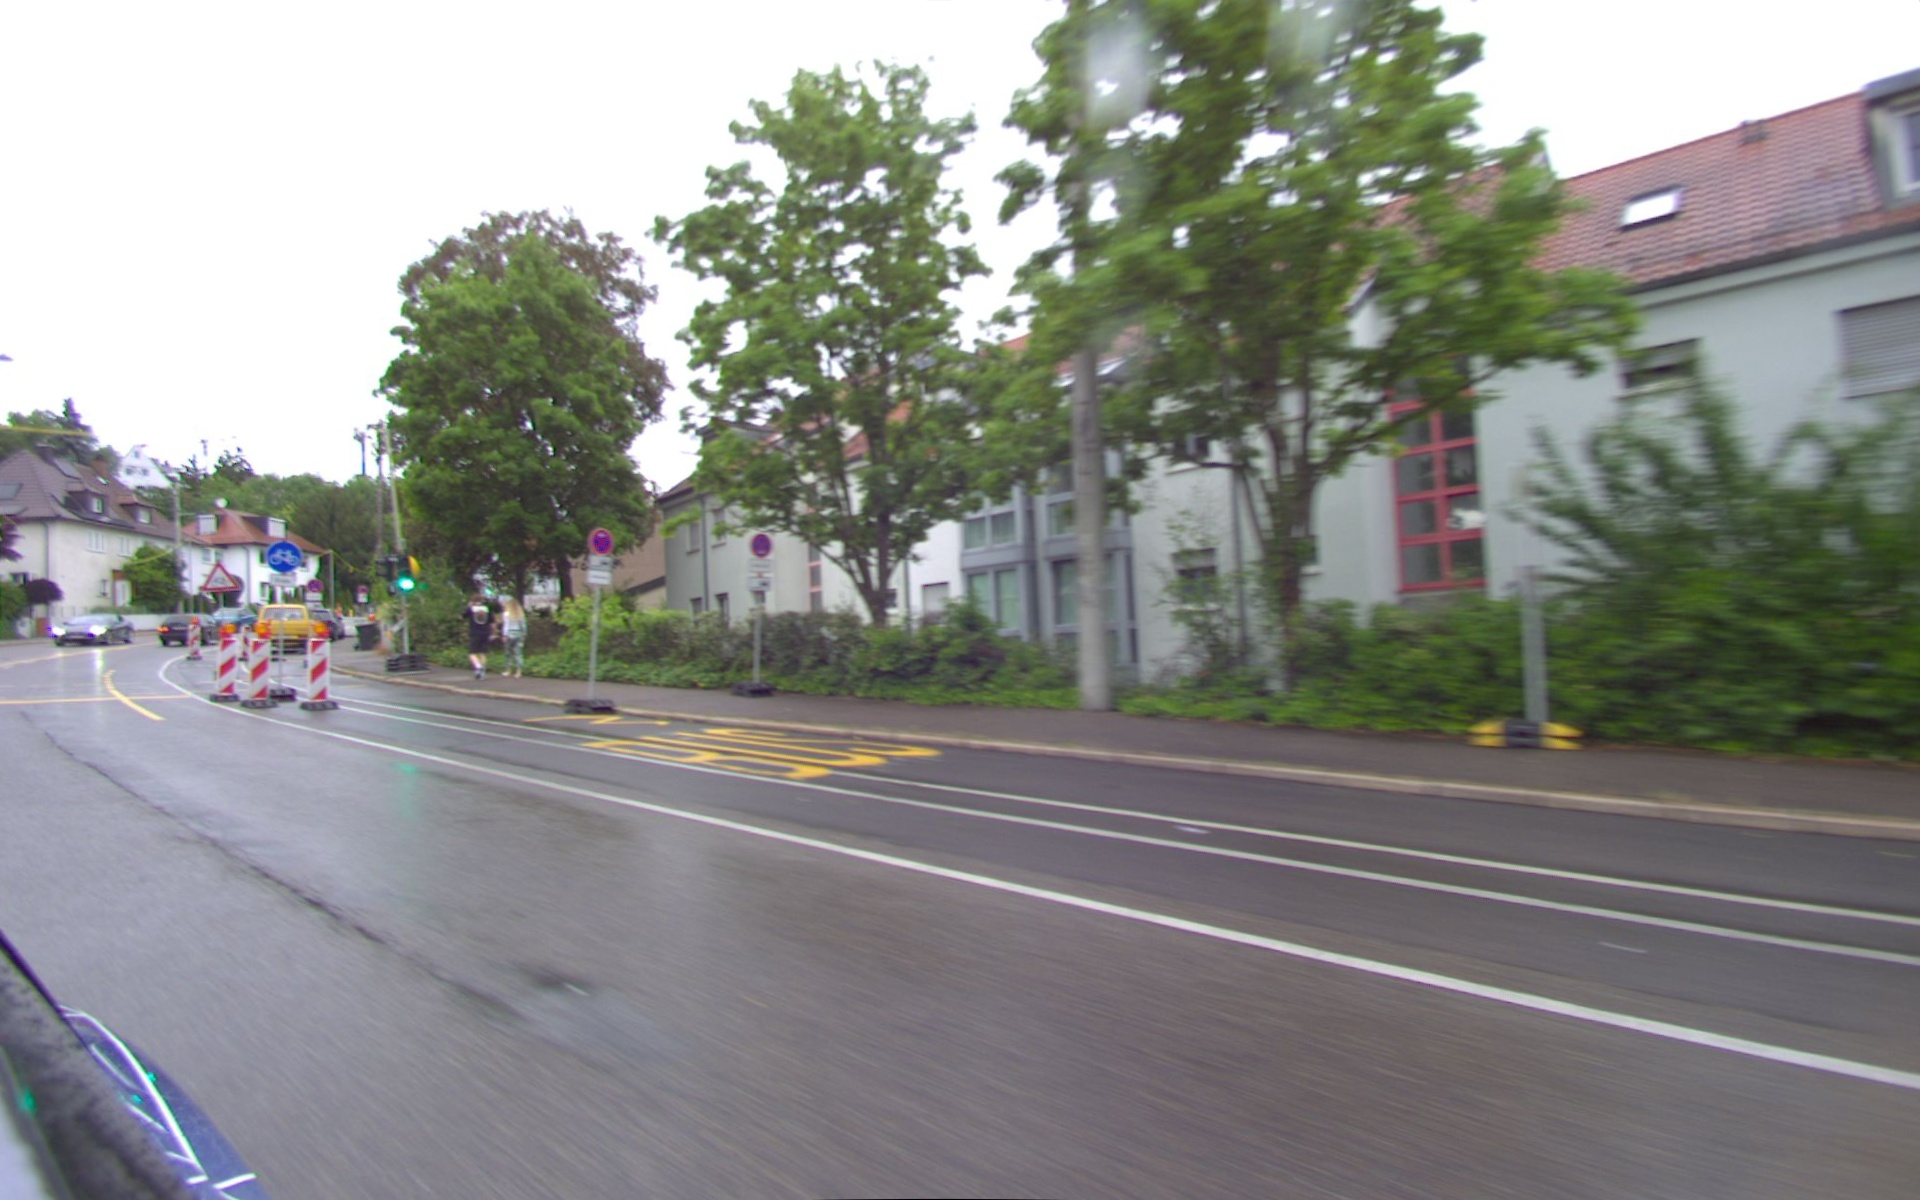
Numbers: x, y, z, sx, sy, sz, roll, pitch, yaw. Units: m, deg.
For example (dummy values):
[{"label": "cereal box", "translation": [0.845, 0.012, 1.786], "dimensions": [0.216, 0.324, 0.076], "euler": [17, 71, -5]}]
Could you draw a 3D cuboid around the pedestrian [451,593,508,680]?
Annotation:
[{"label": "pedestrian", "translation": [-10.452, 0.791, 21.995], "dimensions": [1.147, 1.830, 0.700], "euler": [-3, -1, 42]}]

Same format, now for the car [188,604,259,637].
[{"label": "car", "translation": [-46.543, 1.261, 64.082], "dimensions": [1.984, 1.954, 4.007], "euler": [0, 1, -8]}]

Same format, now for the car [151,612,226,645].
[{"label": "car", "translation": [-36.085, 1.314, 47.460], "dimensions": [1.675, 1.472, 4.699], "euler": [1, -2, -24]}]

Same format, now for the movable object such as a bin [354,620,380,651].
[{"label": "movable object such as a bin", "translation": [-23.117, 1.360, 39.452], "dimensions": [0.846, 1.149, 0.714], "euler": [-1, 1, -31]}]

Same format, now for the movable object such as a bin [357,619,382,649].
[{"label": "movable object such as a bin", "translation": [-23.419, 1.350, 40.149], "dimensions": [0.846, 1.149, 0.714], "euler": [-1, 1, -31]}]

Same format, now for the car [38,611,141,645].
[{"label": "car", "translation": [-39.763, 1.248, 46.362], "dimensions": [1.956, 1.447, 4.529], "euler": [0, -1, -18]}]

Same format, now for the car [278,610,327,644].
[{"label": "car", "translation": [-30.509, 1.207, 47.003], "dimensions": [1.552, 1.465, 3.476], "euler": [1, 0, -27]}]

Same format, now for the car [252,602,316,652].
[{"label": "car", "translation": [-27.841, 1.061, 41.804], "dimensions": [1.778, 1.942, 4.591], "euler": [1, -1, -29]}]

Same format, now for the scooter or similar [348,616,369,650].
[{"label": "scooter or similar", "translation": [-23.866, 1.294, 40.167], "dimensions": [0.393, 1.269, 1.321], "euler": [-3, 2, -19]}]

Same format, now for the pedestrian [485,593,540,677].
[{"label": "pedestrian", "translation": [-10.069, 0.791, 22.758], "dimensions": [1.155, 1.830, 0.673], "euler": [-3, -1, 42]}]

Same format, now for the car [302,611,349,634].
[{"label": "car", "translation": [-41.863, 1.503, 66.864], "dimensions": [1.675, 1.472, 3.947], "euler": [1, -2, -17]}]

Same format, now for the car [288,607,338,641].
[{"label": "car", "translation": [-32.677, 1.192, 51.224], "dimensions": [1.695, 1.620, 4.477], "euler": [-1, 0, -27]}]
